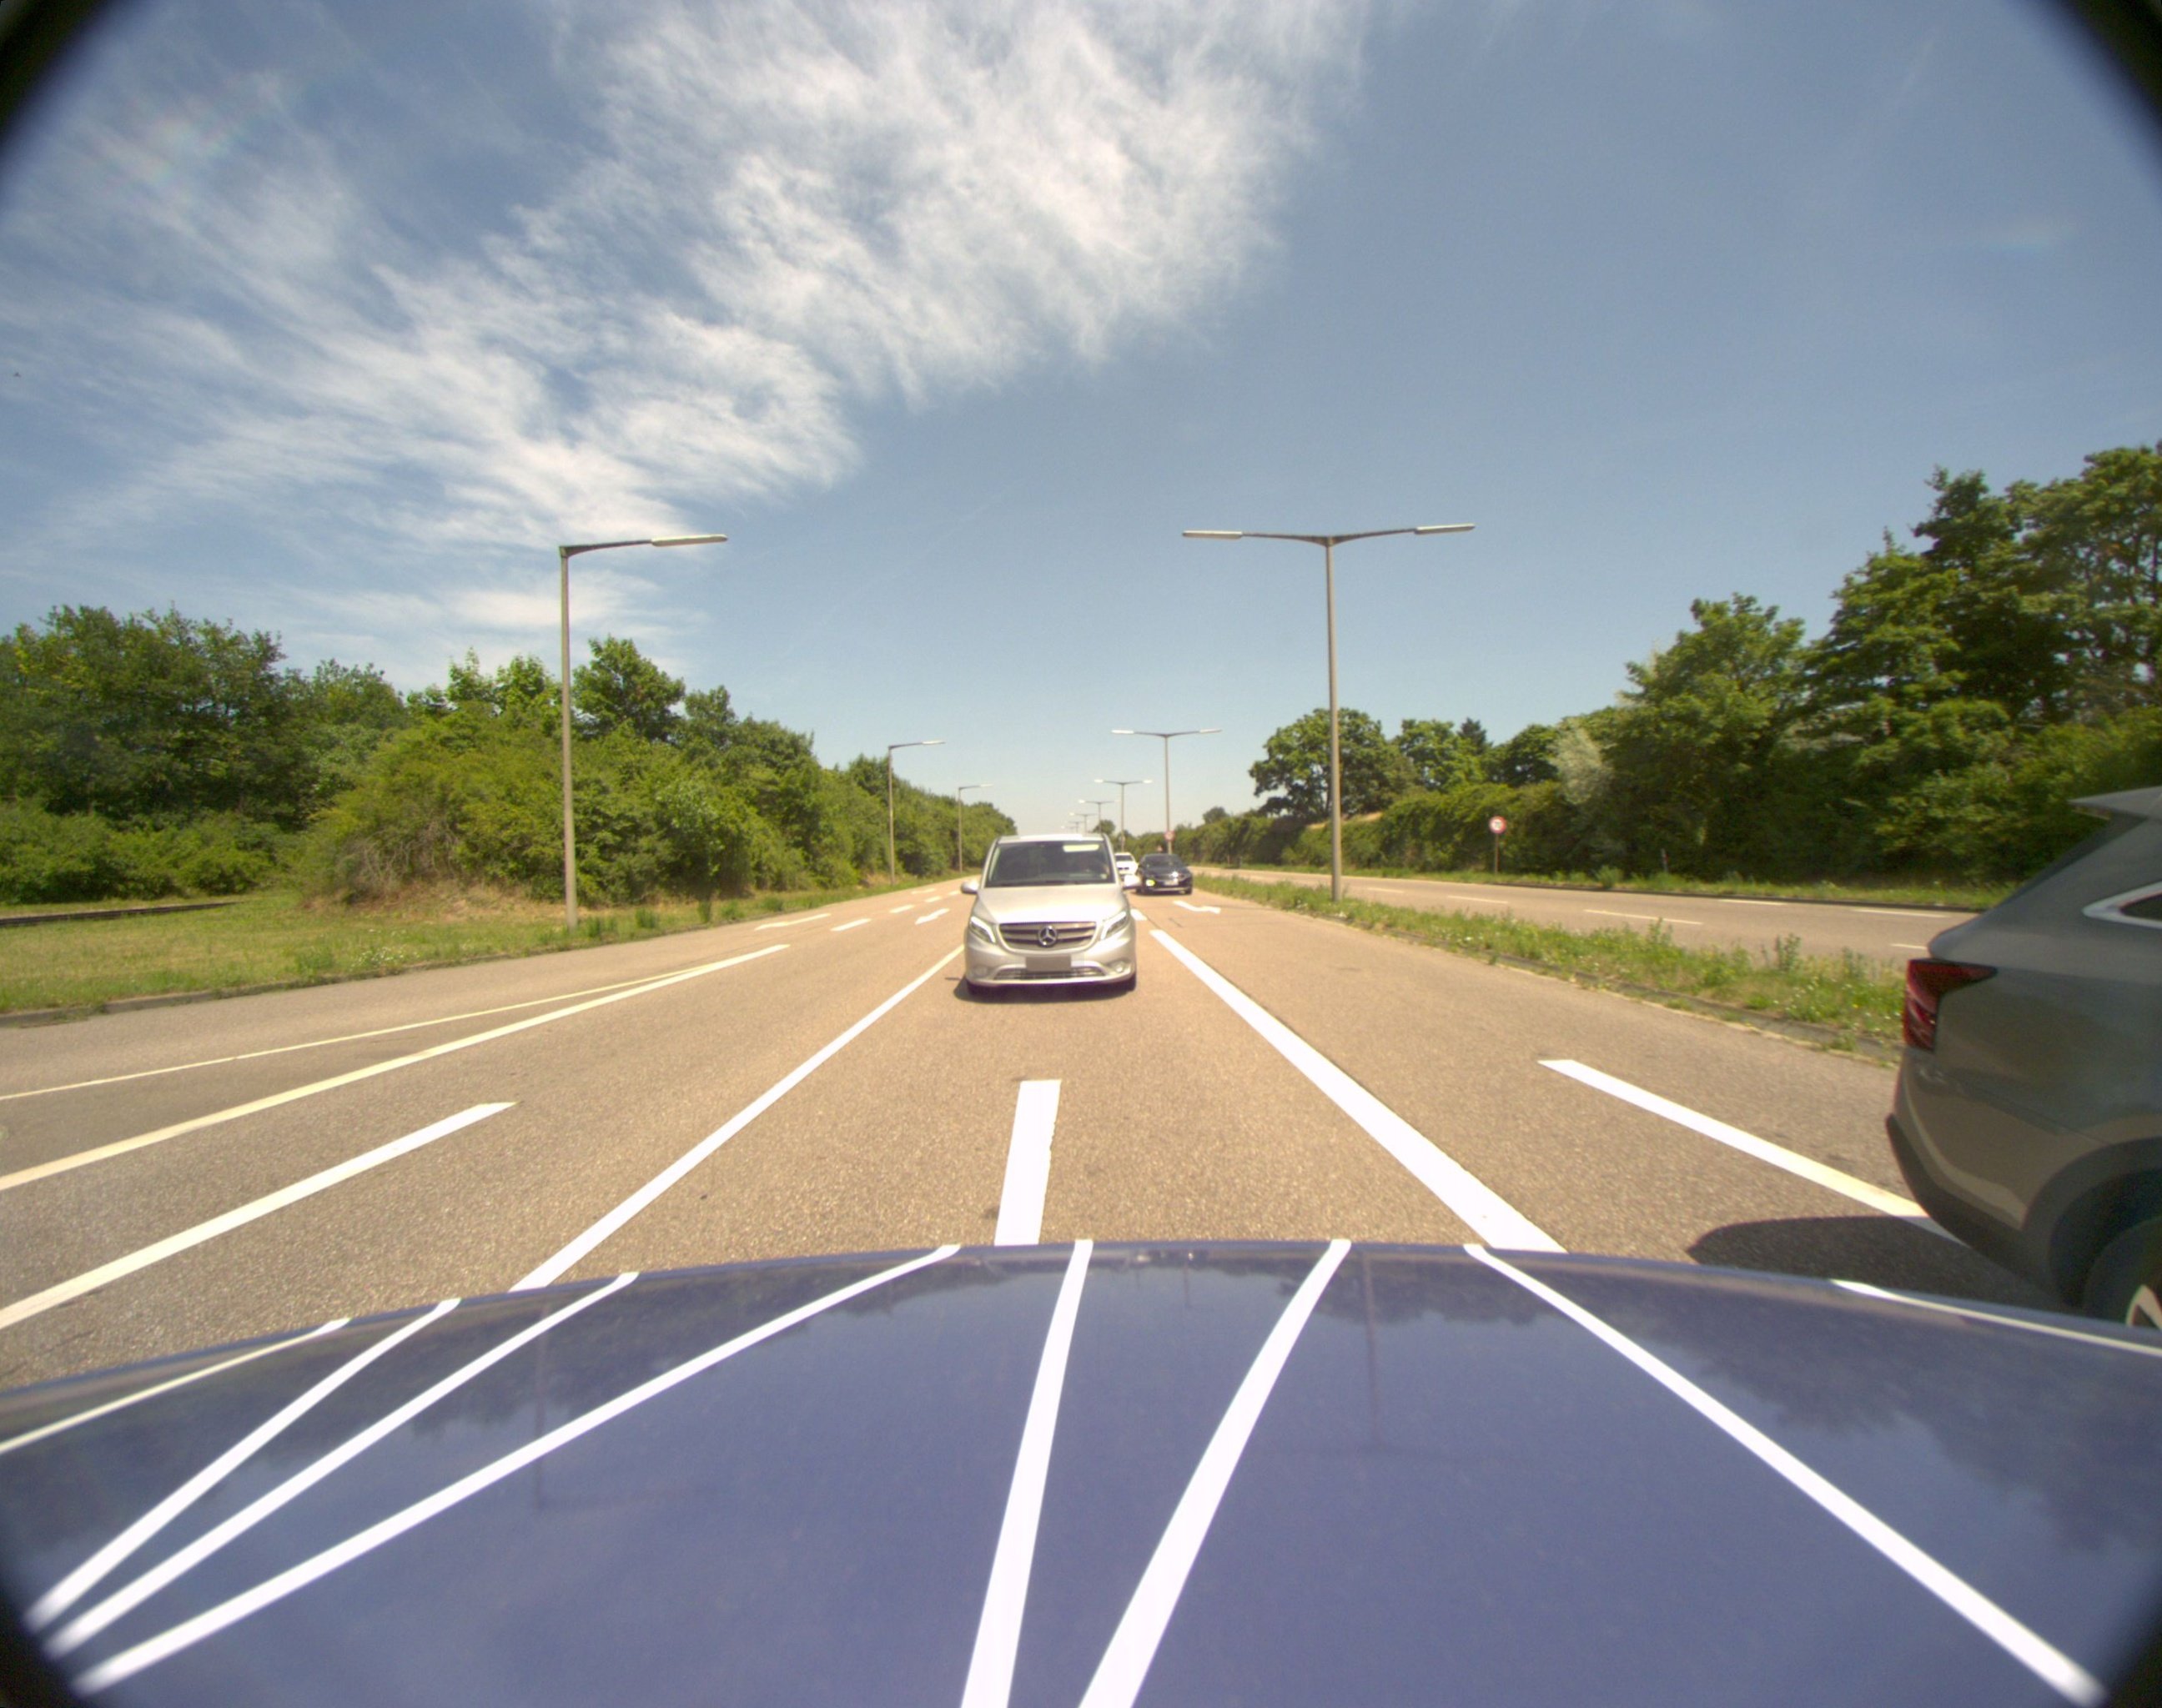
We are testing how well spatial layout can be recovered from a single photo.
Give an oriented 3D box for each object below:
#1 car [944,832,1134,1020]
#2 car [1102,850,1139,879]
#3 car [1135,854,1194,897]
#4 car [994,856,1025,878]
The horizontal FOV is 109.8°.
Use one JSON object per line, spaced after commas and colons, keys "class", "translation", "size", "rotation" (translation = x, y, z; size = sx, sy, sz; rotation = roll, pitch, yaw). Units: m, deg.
{"class": "car", "translation": [-0.366, 0.724, 10.535], "size": [1.876, 1.866, 5.732], "rotation": [-1, 0, 1]}
{"class": "car", "translation": [2.343, 0.588, 46.116], "size": [1.921, 1.661, 4.001], "rotation": [-1, 1, -1]}
{"class": "car", "translation": [3.123, 0.753, 29.050], "size": [1.753, 1.491, 4.000], "rotation": [-2, 0, 0]}
{"class": "car", "translation": [-5.326, 0.937, 56.978], "size": [1.722, 1.587, 4.001], "rotation": [-1, 0, 2]}
